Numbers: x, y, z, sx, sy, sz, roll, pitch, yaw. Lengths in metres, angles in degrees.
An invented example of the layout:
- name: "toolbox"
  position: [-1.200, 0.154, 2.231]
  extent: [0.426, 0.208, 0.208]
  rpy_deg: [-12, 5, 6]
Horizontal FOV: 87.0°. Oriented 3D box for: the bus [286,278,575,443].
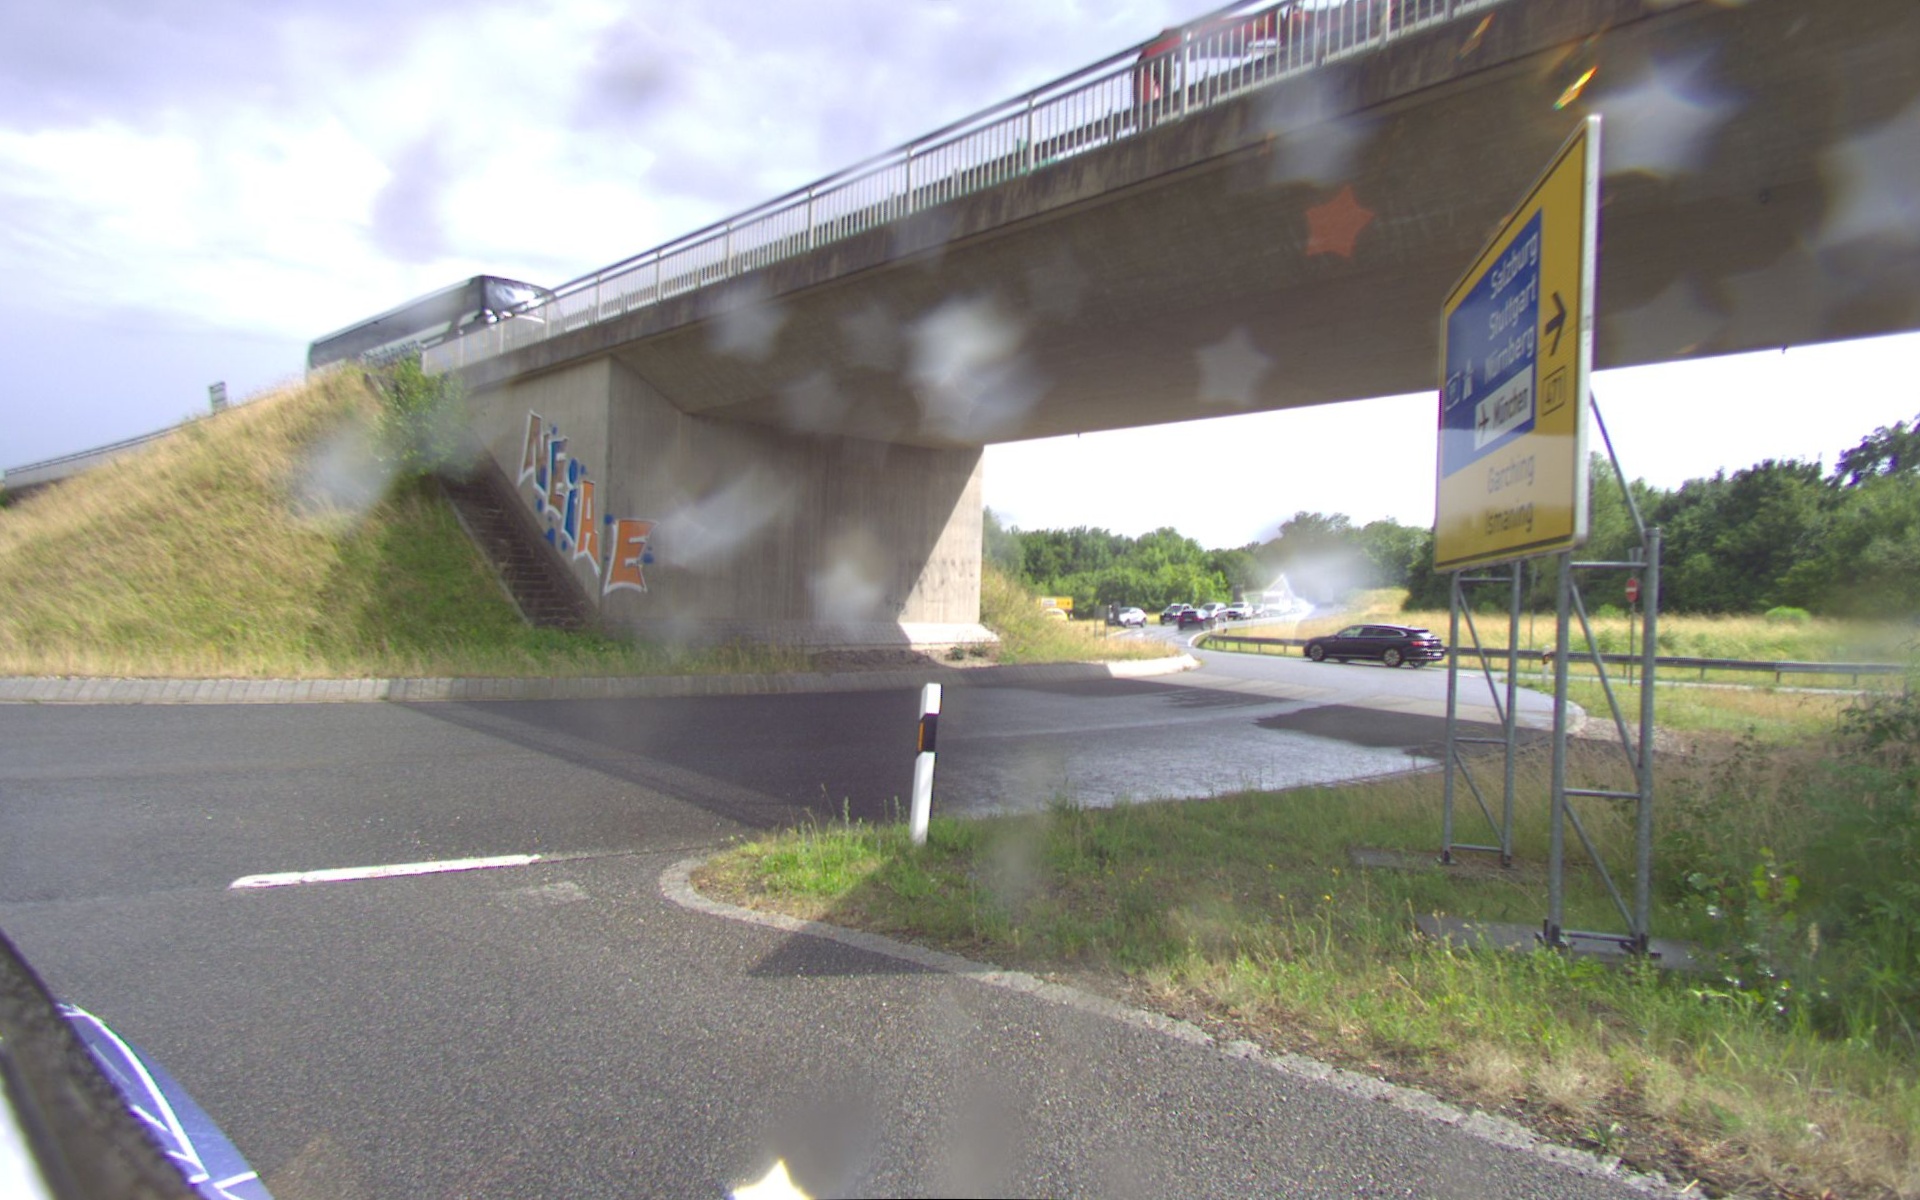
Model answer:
- name: "bus"
  position: [-17.758, -7.363, 32.993]
  extent: [14.444, 3.102, 2.580]
  rpy_deg: [2, 1, 38]
